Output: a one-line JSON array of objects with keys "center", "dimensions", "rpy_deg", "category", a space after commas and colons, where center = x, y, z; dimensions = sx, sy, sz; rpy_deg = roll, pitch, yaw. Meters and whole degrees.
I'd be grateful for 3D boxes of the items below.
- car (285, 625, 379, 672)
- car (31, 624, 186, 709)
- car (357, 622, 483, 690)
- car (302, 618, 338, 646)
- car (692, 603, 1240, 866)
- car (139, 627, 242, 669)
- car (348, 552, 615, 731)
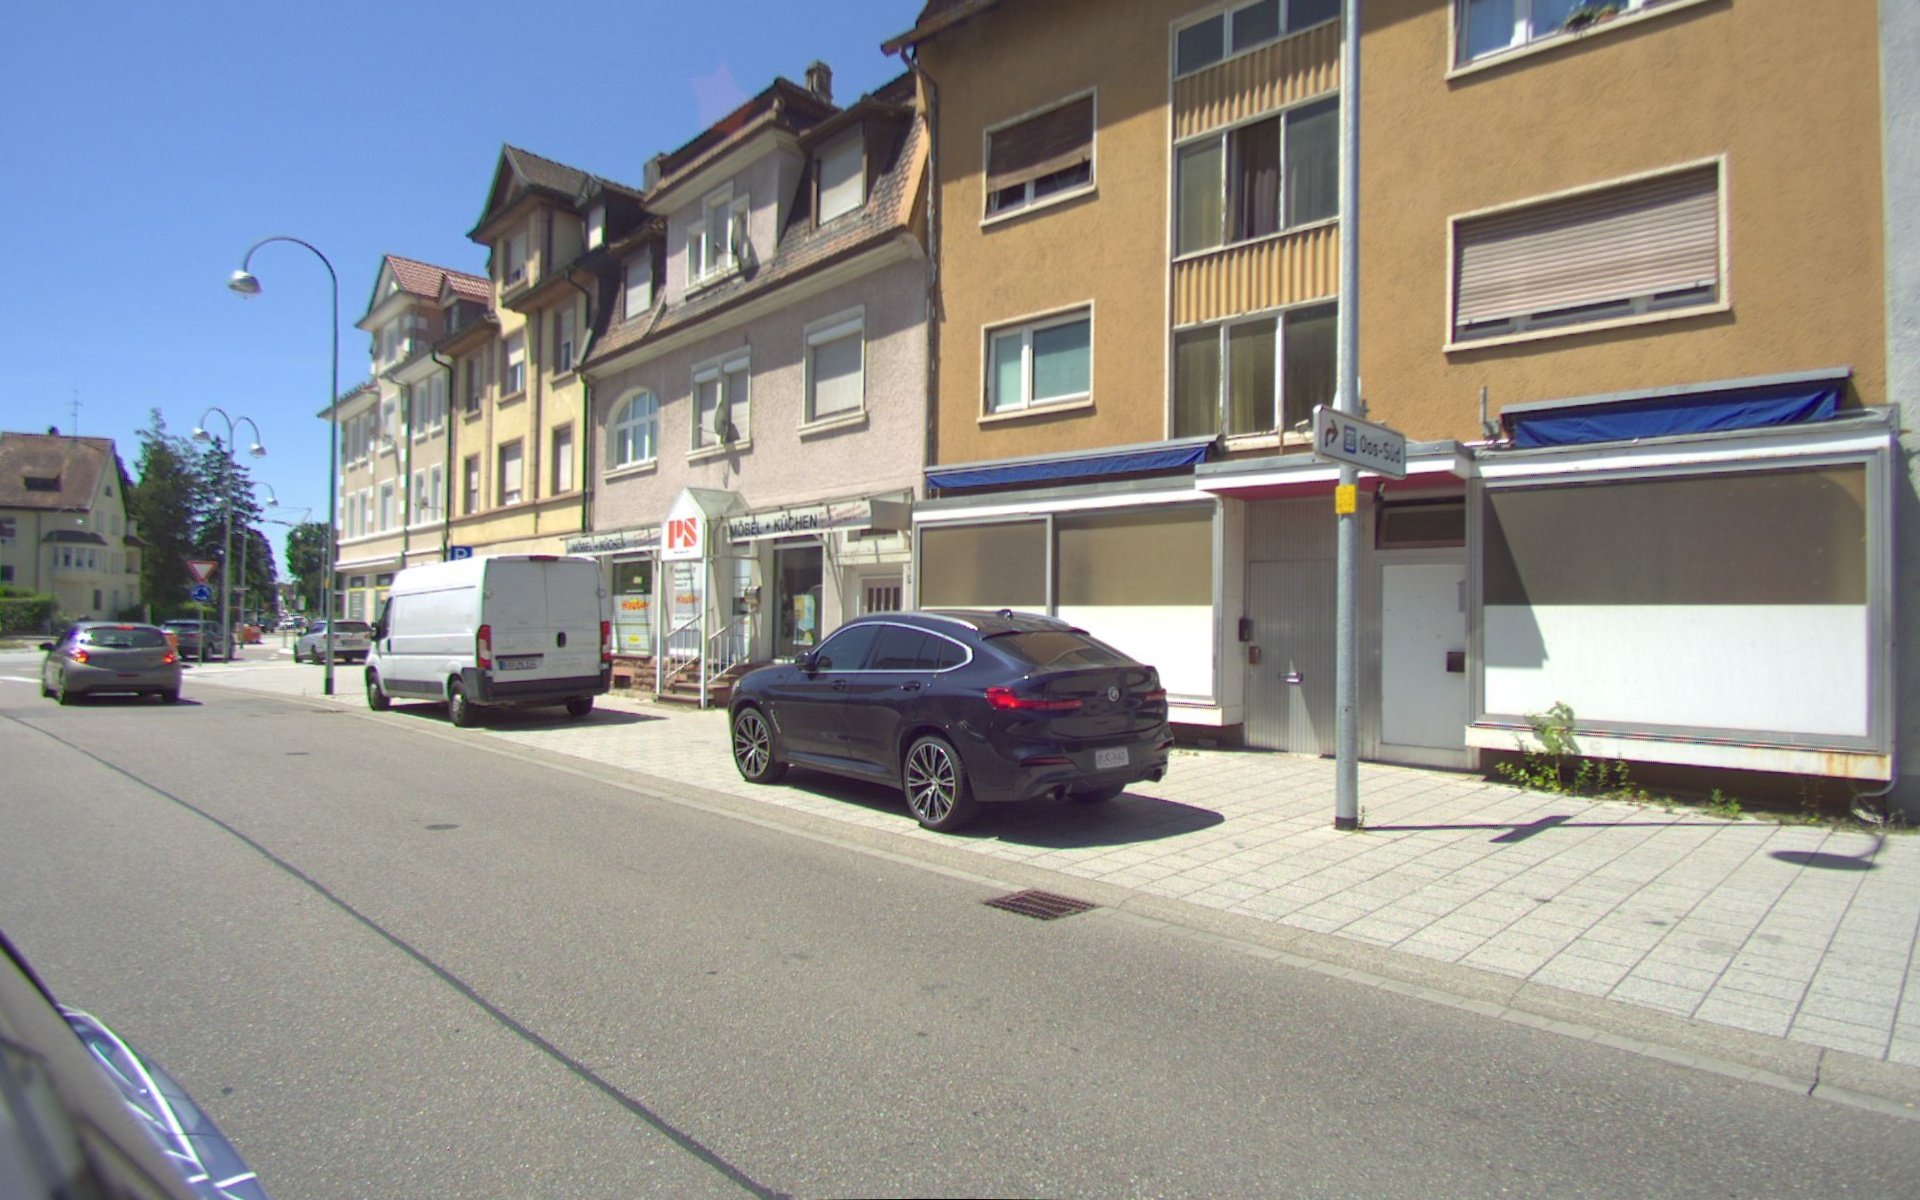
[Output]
[{"center": [-21.603, 1.615, 34.720], "dimensions": [1.773, 1.514, 4.950], "rpy_deg": [1, -2, -44], "category": "car"}, {"center": [-15.953, 1.216, 18.898], "dimensions": [4.000, 1.422, 1.712], "rpy_deg": [-2, -5, 43], "category": "car"}, {"center": [-13.655, 1.343, 25.492], "dimensions": [1.773, 1.553, 4.118], "rpy_deg": [1, -2, -44], "category": "car"}, {"center": [-48.584, 2.425, 76.857], "dimensions": [1.965, 1.861, 4.013], "rpy_deg": [1, 1, -27], "category": "car"}, {"center": [-0.316, 0.905, 8.943], "dimensions": [2.059, 1.627, 5.118], "rpy_deg": [0, -2, -39], "category": "car"}, {"center": [-30.359, 1.863, 40.092], "dimensions": [1.771, 1.500, 4.403], "rpy_deg": [2, -1, -17], "category": "car"}, {"center": [-8.177, 0.616, 16.880], "dimensions": [2.095, 2.468, 6.121], "rpy_deg": [0, -1, -45], "category": "car"}]
